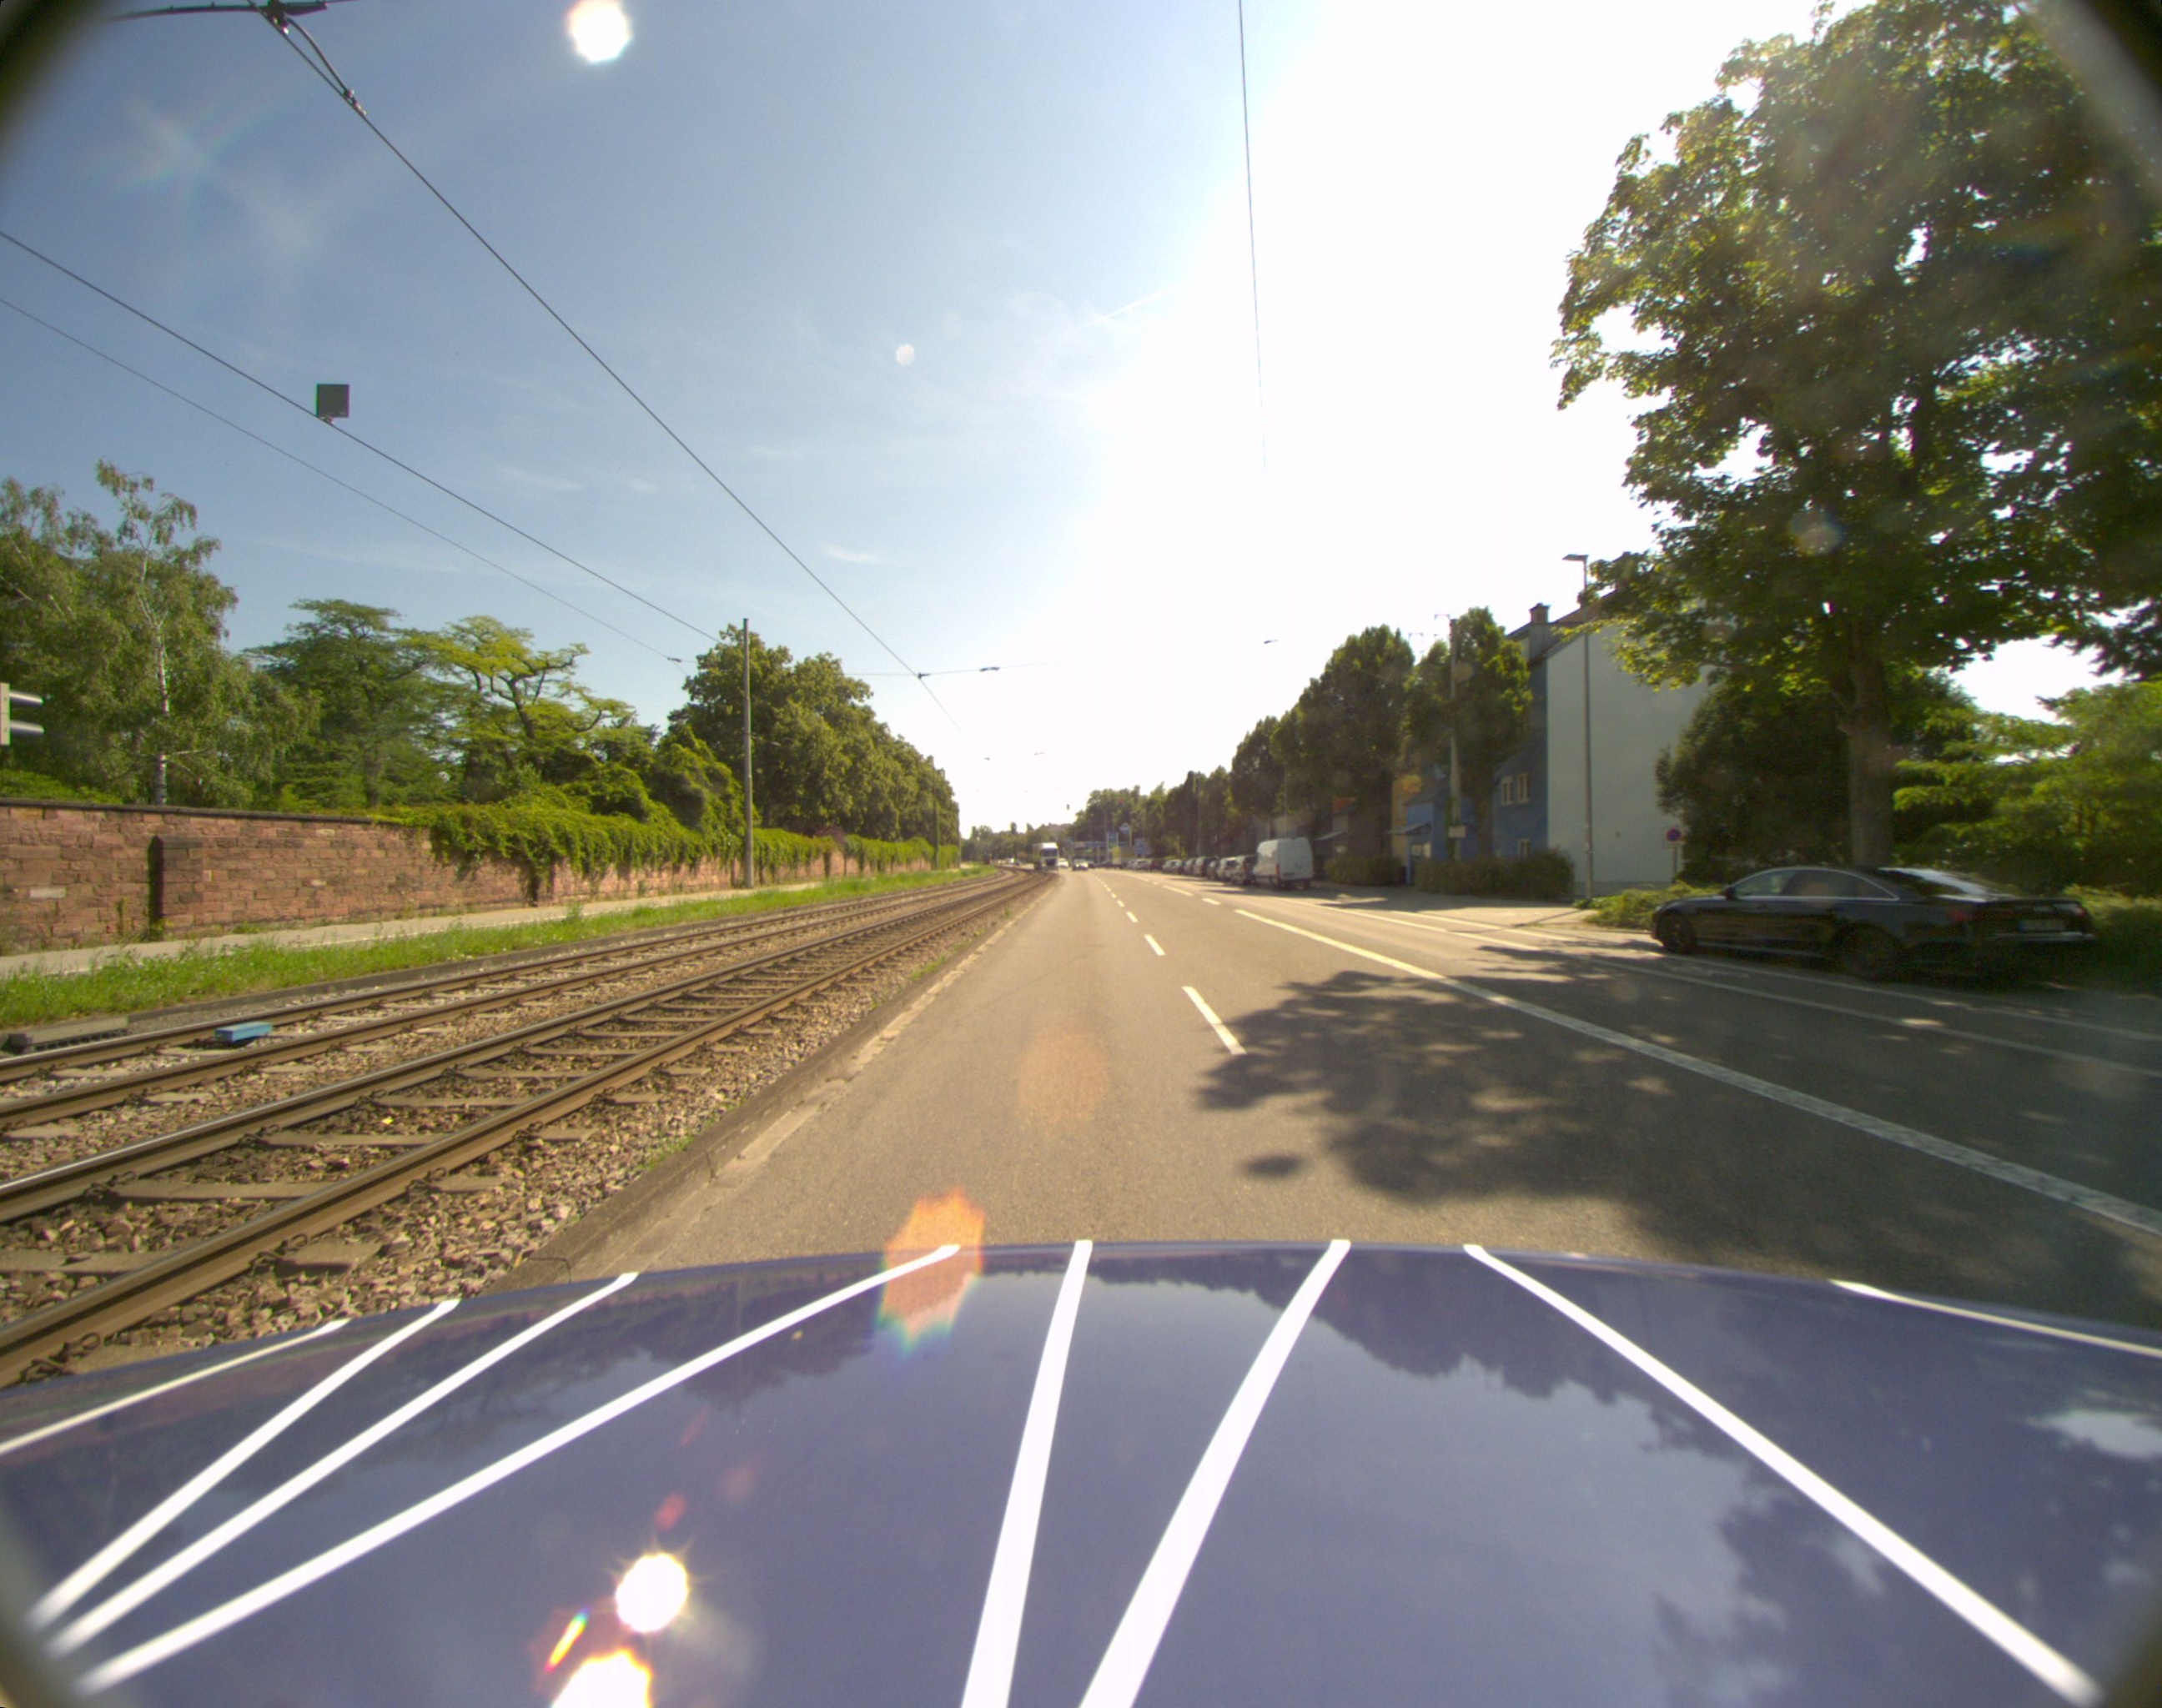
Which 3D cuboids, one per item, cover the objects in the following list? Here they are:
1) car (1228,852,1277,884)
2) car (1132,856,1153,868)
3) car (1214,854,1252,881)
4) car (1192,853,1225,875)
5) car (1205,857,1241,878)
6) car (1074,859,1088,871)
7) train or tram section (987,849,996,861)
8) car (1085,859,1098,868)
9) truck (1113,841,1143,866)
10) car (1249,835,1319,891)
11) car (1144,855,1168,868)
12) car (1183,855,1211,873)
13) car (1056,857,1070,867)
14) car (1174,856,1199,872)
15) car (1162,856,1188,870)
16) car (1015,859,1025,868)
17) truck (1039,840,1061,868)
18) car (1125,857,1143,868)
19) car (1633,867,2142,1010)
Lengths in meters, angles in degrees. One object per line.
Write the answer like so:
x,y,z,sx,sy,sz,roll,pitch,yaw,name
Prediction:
11.176,0.870,49.895,1.998,1.855,4.967,-5,0,1,car
8.330,1.047,103.225,2.040,1.490,4.130,-2,0,-6,car
11.064,0.937,55.629,1.852,1.693,4.540,-4,0,1,car
11.012,0.818,65.807,1.834,1.718,4.348,-3,0,-3,car
11.279,1.030,60.648,1.871,1.447,4.074,-4,0,-3,car
0.042,1.386,97.625,1.747,1.421,5.041,-2,0,1,car
-29.851,0.413,254.393,2.722,3.716,18.868,-2,0,-6,train or tram section
1.600,1.481,116.691,1.692,1.237,4.063,2,0,-3,car
7.116,-0.067,115.480,3.165,3.533,8.780,0,0,-6,truck
11.002,0.456,41.799,1.998,2.661,7.086,-4,0,2,car
9.384,0.929,95.396,1.911,1.567,4.929,-2,0,-6,car
10.794,0.913,71.024,1.681,1.598,4.164,-2,0,-3,car
-2.912,1.343,123.237,1.786,1.538,4.391,-2,0,-7,car
10.659,0.996,77.223,1.681,1.462,4.212,-2,0,-3,car
10.366,1.005,84.106,1.682,1.437,4.835,-2,0,-6,car
-14.022,2.166,174.689,1.854,1.707,3.999,-2,1,-2,car
-4.733,0.006,114.252,2.806,3.926,11.937,0,0,-5,truck
7.506,1.185,107.727,1.915,1.469,4.213,-2,0,-6,car
10.561,0.958,10.707,1.845,1.457,4.909,0,0,-3,car
